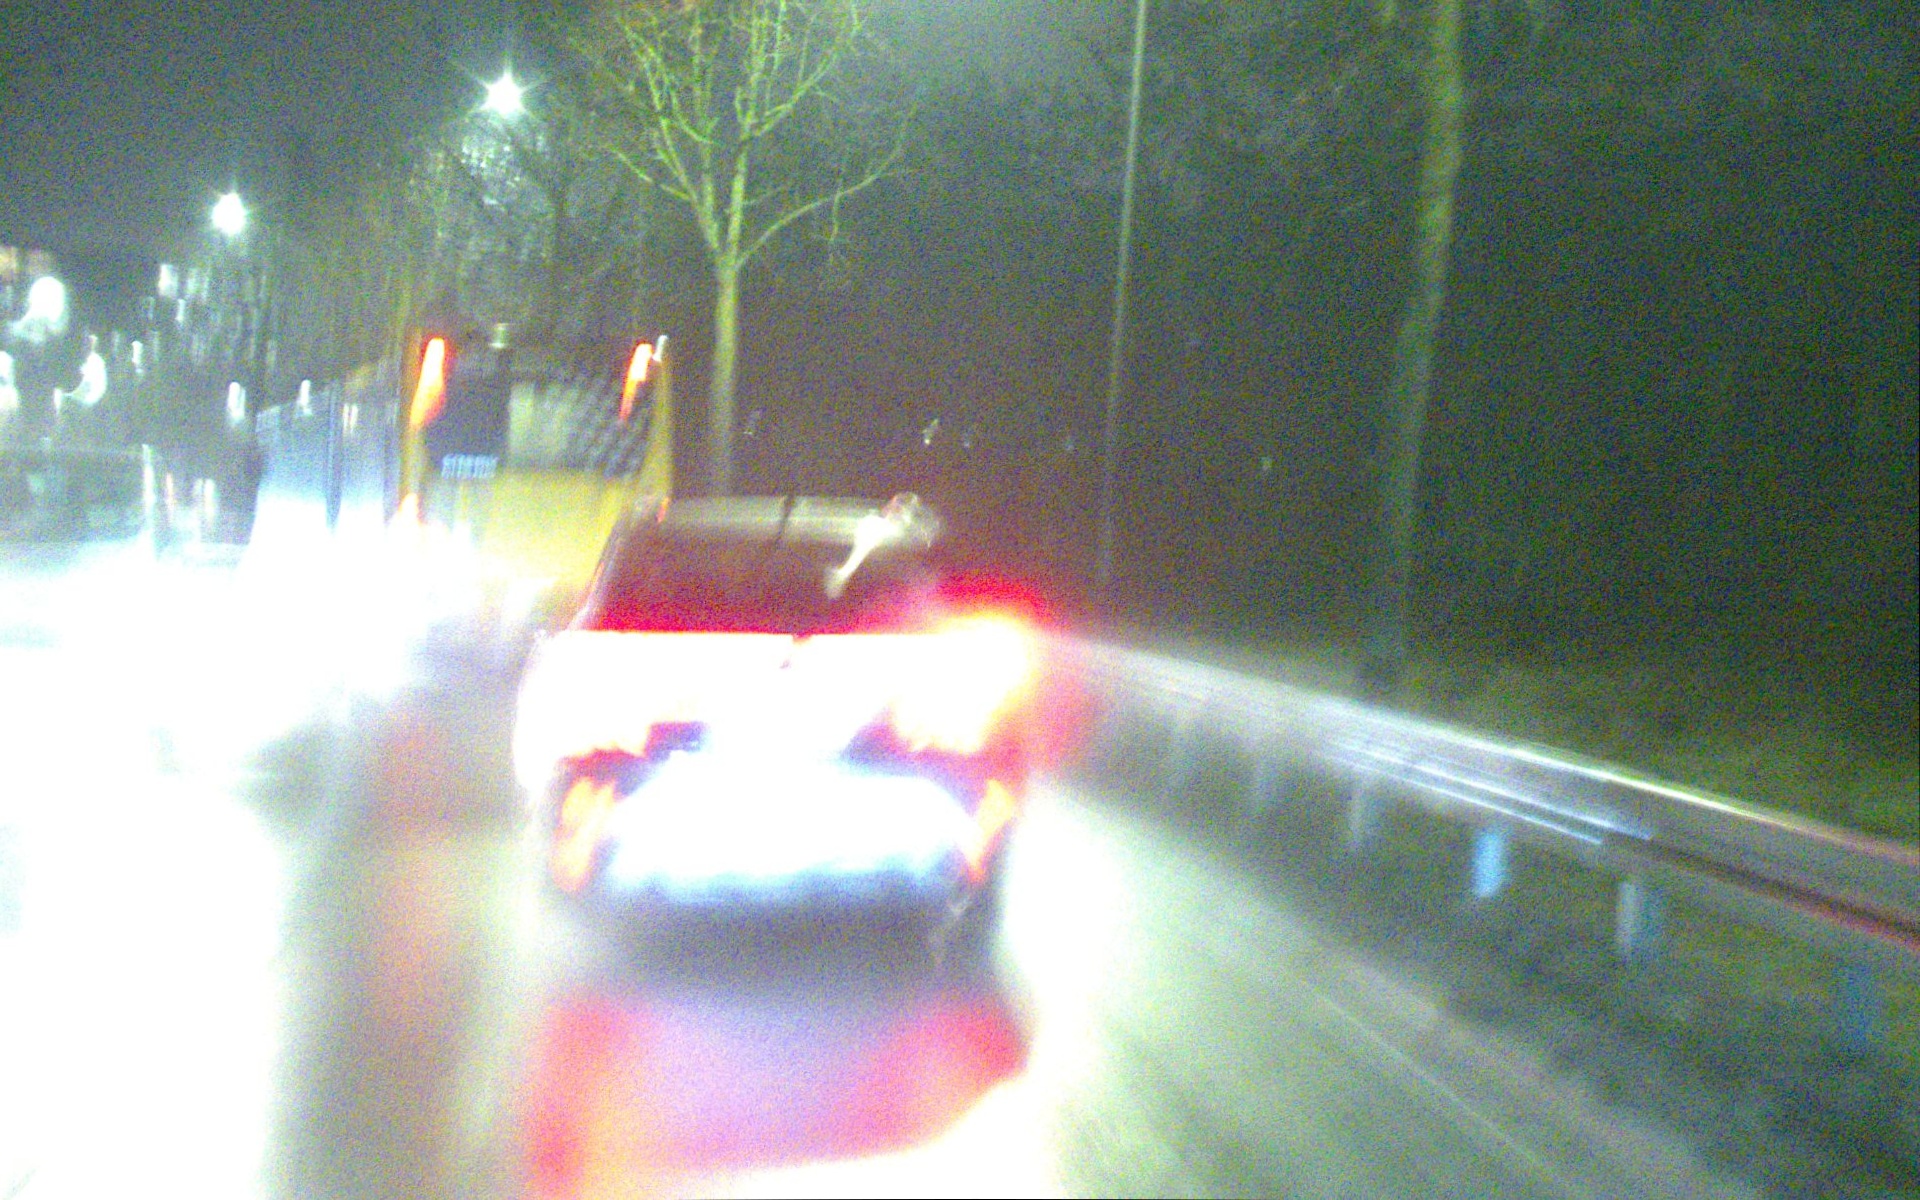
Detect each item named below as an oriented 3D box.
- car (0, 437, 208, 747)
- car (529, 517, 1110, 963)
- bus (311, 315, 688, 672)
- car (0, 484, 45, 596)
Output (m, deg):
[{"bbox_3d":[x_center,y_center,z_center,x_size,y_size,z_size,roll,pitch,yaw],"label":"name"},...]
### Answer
[{"bbox_3d":[-6.660,-0.123,24.668,2.448,1.981,5.496,0,1,-12],"label":"car"},{"bbox_3d":[-0.626,0.446,13.984,1.993,1.519,4.001,1,1,-4],"label":"car"},{"bbox_3d":[-4.991,-1.049,35.566,3.042,3.201,9.053,0,1,-13],"label":"bus"},{"bbox_3d":[-22.199,-1.373,77.838,2.697,2.469,5.307,0,1,-17],"label":"car"}]
